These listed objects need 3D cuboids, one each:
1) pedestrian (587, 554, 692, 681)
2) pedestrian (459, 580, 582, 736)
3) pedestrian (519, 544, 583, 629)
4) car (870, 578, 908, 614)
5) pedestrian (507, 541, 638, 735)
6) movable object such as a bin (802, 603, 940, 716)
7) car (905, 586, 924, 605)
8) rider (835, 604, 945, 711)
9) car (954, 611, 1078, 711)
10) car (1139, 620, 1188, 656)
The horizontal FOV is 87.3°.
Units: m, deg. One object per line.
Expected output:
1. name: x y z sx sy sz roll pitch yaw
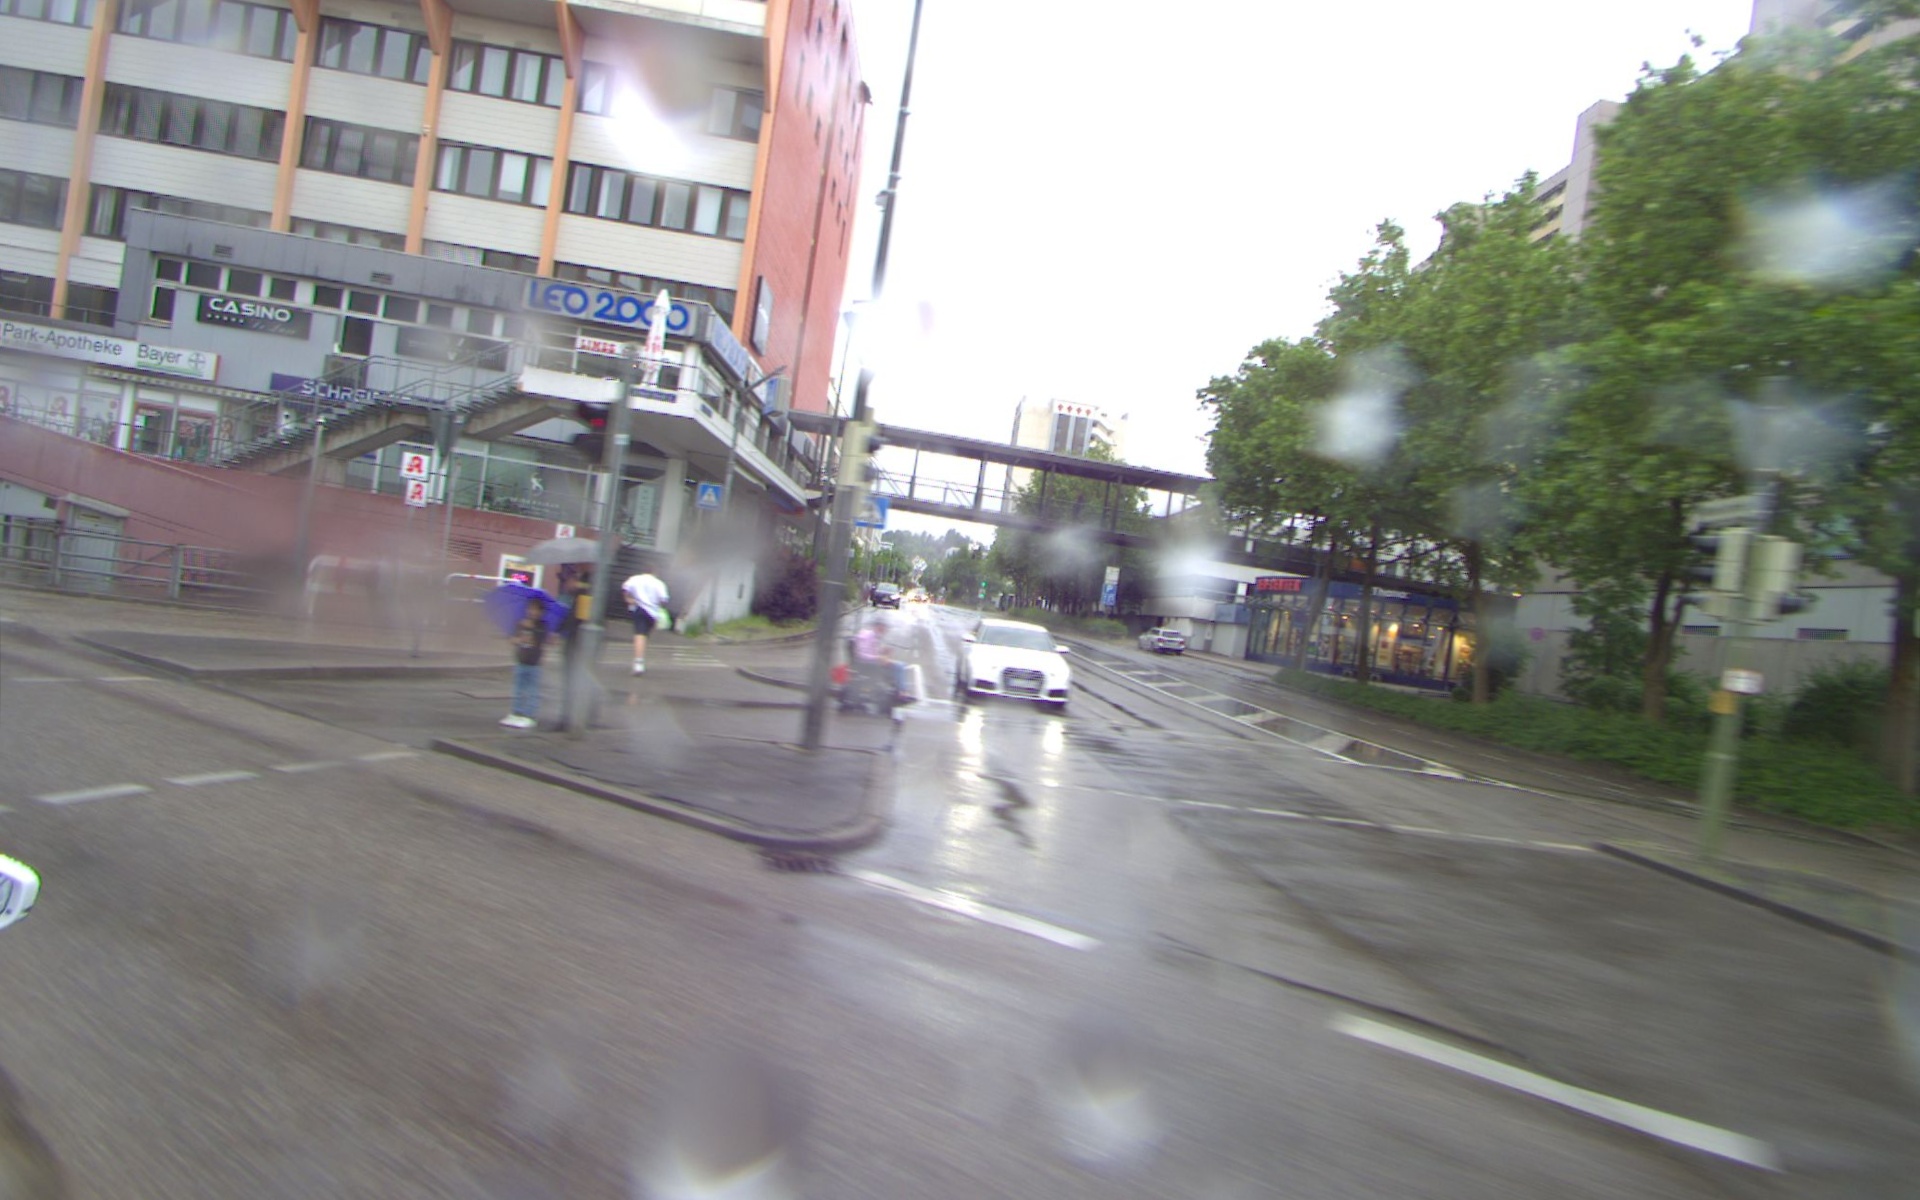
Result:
1. pedestrian: -4.820 0.258 15.117 1.112 1.711 0.828 9 1 39
2. pedestrian: -4.199 0.555 9.625 0.645 1.362 0.708 8 1 34
3. pedestrian: -8.951 -0.299 22.032 0.918 1.689 0.792 9 1 43
4. car: -4.748 -0.266 66.611 1.967 2.038 3.993 8 0 -9
5. pedestrian: -3.499 0.344 9.097 0.645 1.627 0.708 7 1 34
6. movable object such as a bin: -1.249 0.816 14.217 1.430 1.350 1.130 7 2 30
7. car: -4.805 -0.457 105.983 1.685 1.829 3.999 8 0 -1
8. rider: -0.983 0.795 14.245 1.072 1.302 0.923 10 4 30
9. car: 0.960 1.087 19.817 1.780 1.423 4.786 7 0 -3
10. car: 12.411 2.286 61.534 1.803 1.828 3.997 7 0 -3
